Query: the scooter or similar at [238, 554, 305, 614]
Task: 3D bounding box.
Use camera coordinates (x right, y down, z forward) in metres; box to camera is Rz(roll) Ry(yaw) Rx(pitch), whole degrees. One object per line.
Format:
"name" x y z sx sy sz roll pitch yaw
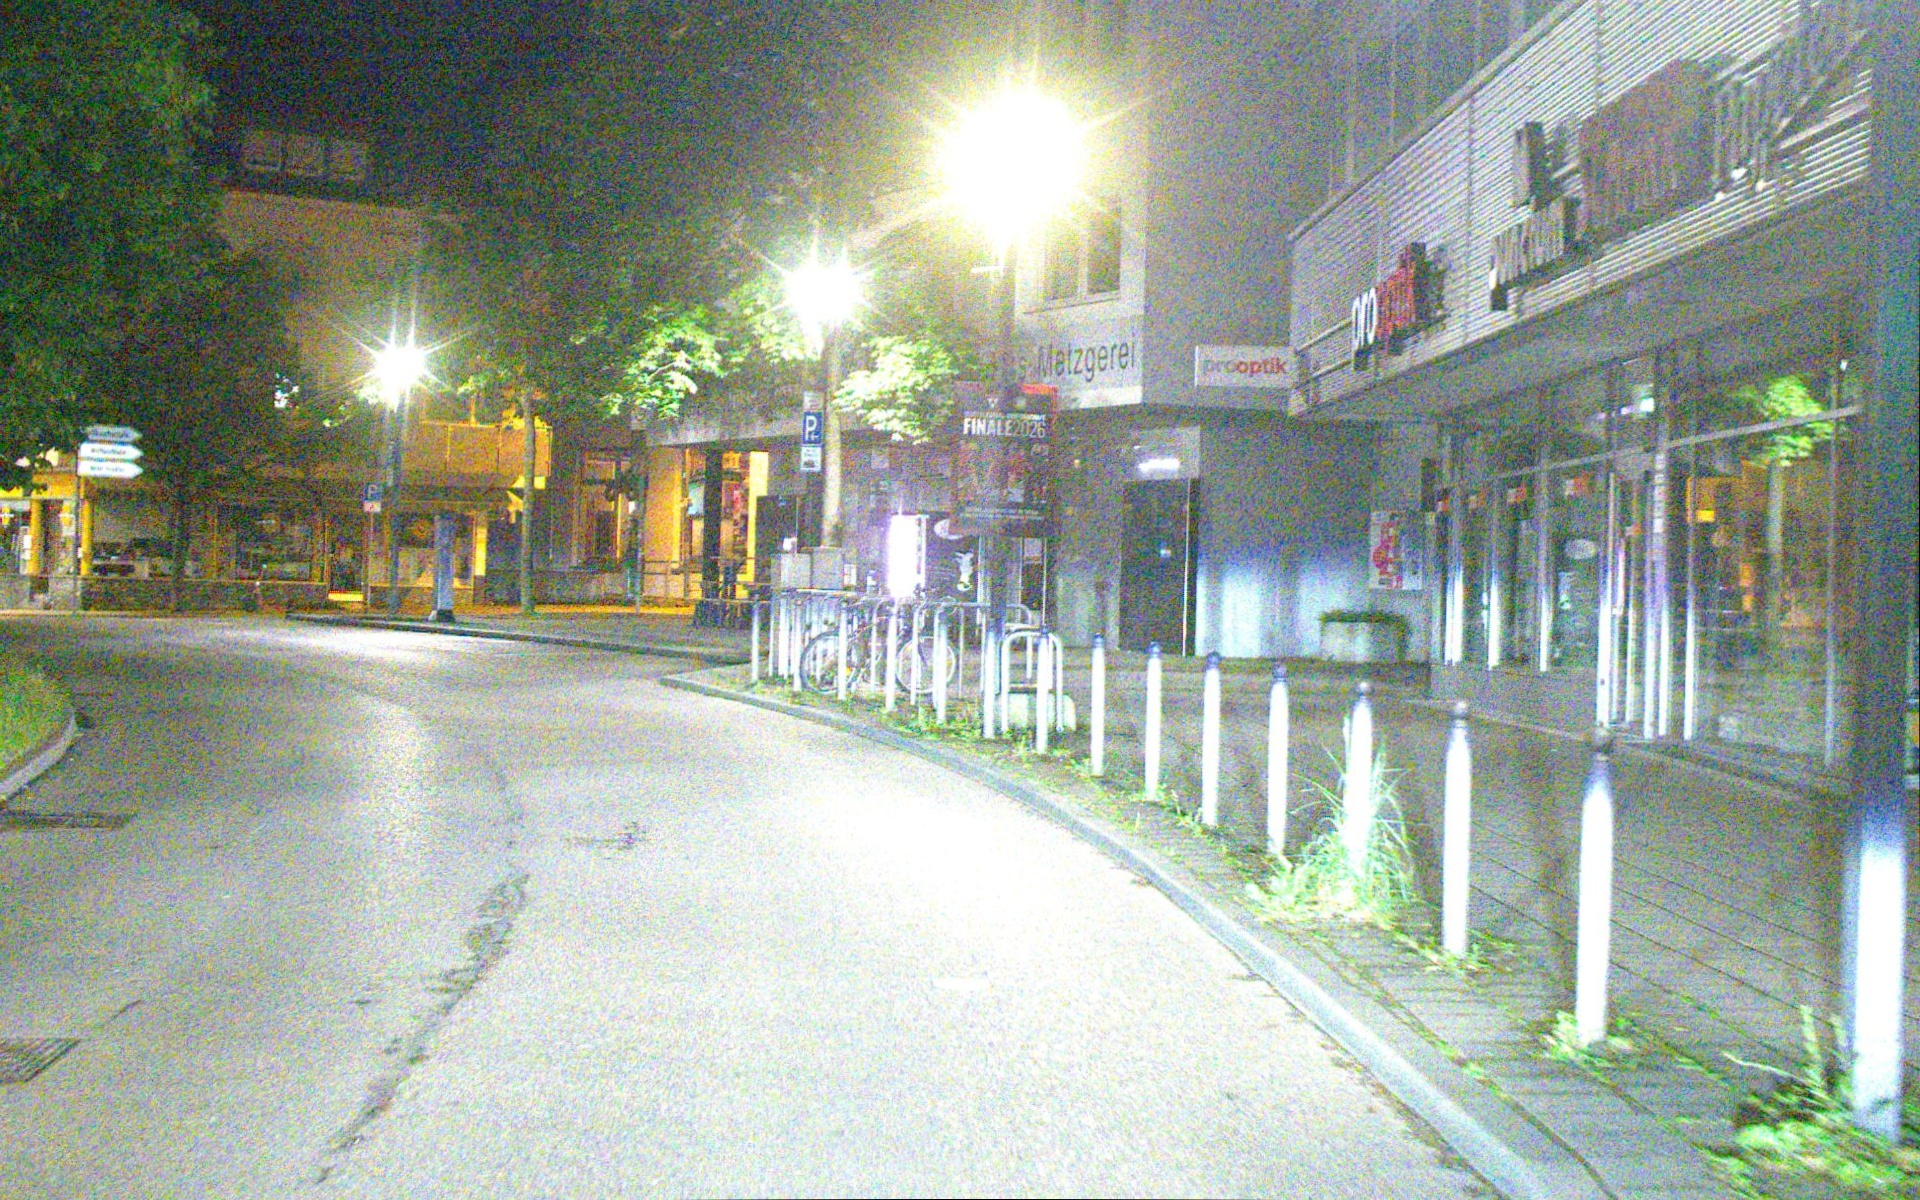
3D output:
"scooter or similar" -14.983 -0.348 74.813 1.246 1.223 0.598 2 1 -28

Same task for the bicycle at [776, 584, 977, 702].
"bicycle" -0.790 0.409 32.464 1.749 1.059 0.656 1 1 -25
